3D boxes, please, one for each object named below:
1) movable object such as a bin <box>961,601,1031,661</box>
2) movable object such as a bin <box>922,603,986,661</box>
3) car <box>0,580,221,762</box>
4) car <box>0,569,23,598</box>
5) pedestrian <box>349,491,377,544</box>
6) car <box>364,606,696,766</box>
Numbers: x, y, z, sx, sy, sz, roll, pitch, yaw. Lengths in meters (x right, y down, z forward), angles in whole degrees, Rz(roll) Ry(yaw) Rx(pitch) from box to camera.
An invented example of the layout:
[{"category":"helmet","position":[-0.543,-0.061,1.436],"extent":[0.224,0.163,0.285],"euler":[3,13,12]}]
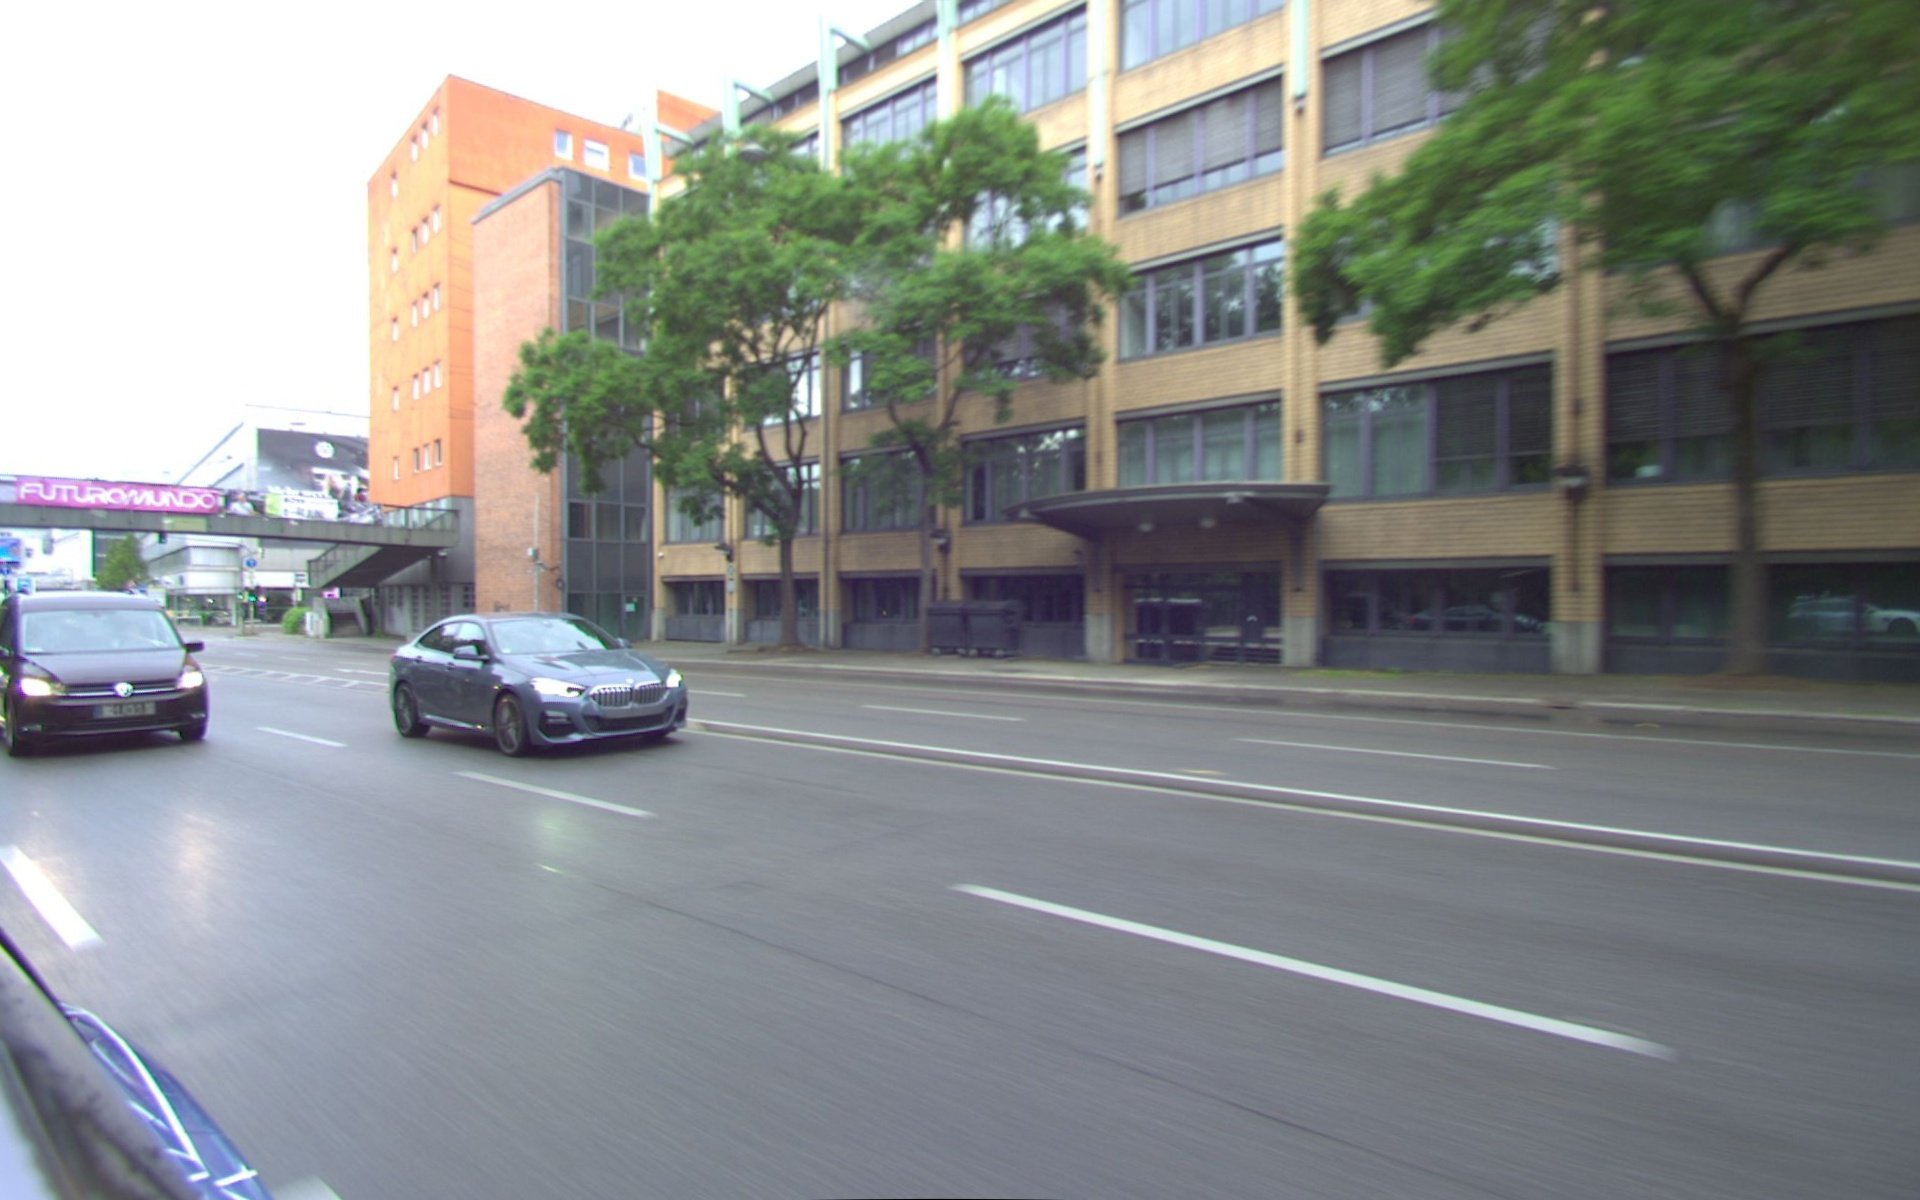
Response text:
[{"category":"movable object such as a bin","position":[0.912,0.775,25.507],"extent":[1.370,1.447,1.058],"euler":[-2,1,36]},{"category":"movable object such as a bin","position":[-0.158,0.830,26.333],"extent":[1.312,1.447,0.964],"euler":[-2,1,37]},{"category":"car","position":[-10.416,0.763,12.028],"extent":[3.999,1.805,1.818],"euler":[-2,-2,42]},{"category":"car","position":[-54.434,-0.922,57.391],"extent":[1.798,1.624,4.004],"euler":[-2,2,-43]},{"category":"pedestrian","position":[-26.505,-3.645,44.910],"extent":[0.737,2.272,0.823],"euler":[0,-1,35]},{"category":"car","position":[-4.989,0.839,11.399],"extent":[4.538,1.425,1.648],"euler":[-2,0,42]}]
